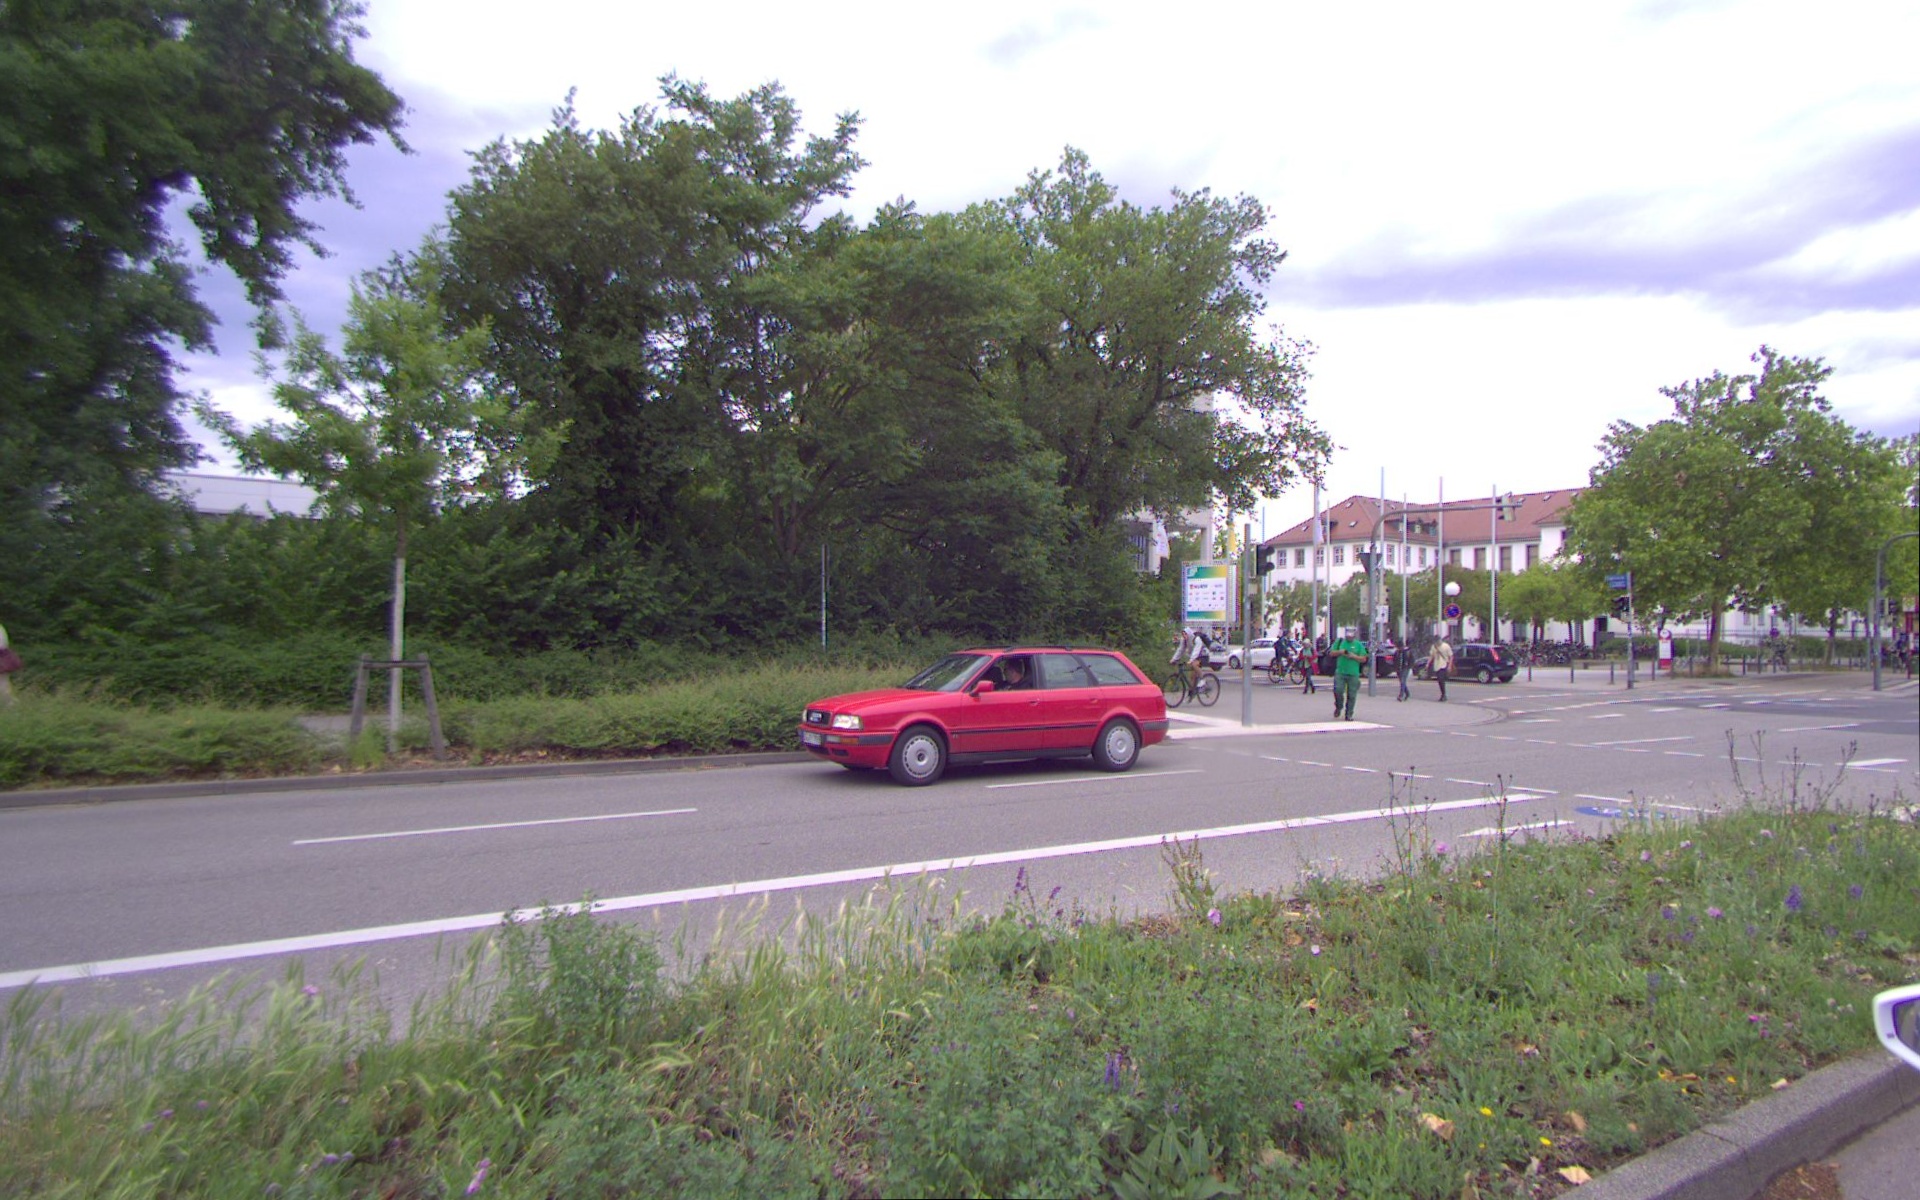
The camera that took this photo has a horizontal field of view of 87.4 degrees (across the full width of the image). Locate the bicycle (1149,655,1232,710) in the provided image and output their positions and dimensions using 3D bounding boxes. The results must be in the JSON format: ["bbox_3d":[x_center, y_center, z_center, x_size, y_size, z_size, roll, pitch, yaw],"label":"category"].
[{"bbox_3d":[4.781,1.691,20.827,1.597,1.076,0.664,1,0,-25],"label":"bicycle"}]

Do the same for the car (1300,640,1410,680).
[{"bbox_3d":[16.678,2.498,42.538,4.006,1.472,1.613,-2,3,43],"label":"car"}]

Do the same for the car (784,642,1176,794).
[{"bbox_3d":[0.290,1.209,11.476,4.244,1.437,1.706,1,-2,-31],"label":"car"}]

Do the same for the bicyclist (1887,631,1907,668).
[{"bbox_3d":[42.760,2.258,45.835,0.581,1.647,0.488,0,1,-30],"label":"bicyclist"}]

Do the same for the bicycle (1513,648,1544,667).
[{"bbox_3d":[31.939,3.233,56.437,1.385,1.066,0.586,-3,-3,41],"label":"bicycle"}]

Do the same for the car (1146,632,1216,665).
[{"bbox_3d":[11.347,2.482,51.711,1.547,1.499,3.322,1,0,-36],"label":"car"}]

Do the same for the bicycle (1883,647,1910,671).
[{"bbox_3d":[42.761,2.706,45.849,1.571,1.019,0.485,0,1,-31],"label":"bicycle"}]

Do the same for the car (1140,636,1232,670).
[{"bbox_3d":[10.272,2.420,45.849,1.691,1.450,4.194,1,-3,-30],"label":"car"}]

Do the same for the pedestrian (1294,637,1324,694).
[{"bbox_3d":[9.903,1.854,28.479,0.563,1.545,0.846,0,-6,36],"label":"pedestrian"}]

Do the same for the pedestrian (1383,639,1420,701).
[{"bbox_3d":[11.630,1.855,26.498,0.776,1.578,0.700,2,-4,16],"label":"pedestrian"}]

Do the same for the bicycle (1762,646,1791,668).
[{"bbox_3d":[41.184,2.863,50.660,2.025,1.074,0.603,1,-3,-37],"label":"bicycle"}]

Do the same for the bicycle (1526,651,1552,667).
[{"bbox_3d":[32.666,3.318,56.684,1.191,0.892,0.263,-2,-3,38],"label":"bicycle"}]

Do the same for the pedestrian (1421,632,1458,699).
[{"bbox_3d":[13.208,1.813,27.668,0.827,1.761,0.830,0,-5,30],"label":"pedestrian"}]

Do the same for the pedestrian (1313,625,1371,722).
[{"bbox_3d":[7.301,1.383,19.253,0.924,1.782,0.876,2,-1,16],"label":"pedestrian"}]

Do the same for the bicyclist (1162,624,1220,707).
[{"bbox_3d":[4.790,1.343,20.825,0.948,1.657,0.664,1,0,-24],"label":"bicyclist"}]

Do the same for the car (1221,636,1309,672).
[{"bbox_3d":[14.387,2.518,47.581,1.667,1.560,3.857,-1,0,-32],"label":"car"}]

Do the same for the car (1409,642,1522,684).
[{"bbox_3d":[19.677,2.420,39.199,1.548,1.240,3.630,-7,4,-35],"label":"car"}]

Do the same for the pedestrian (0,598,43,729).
[{"bbox_3d":[-12.360,0.815,12.920,0.663,1.657,0.697,1,-3,-30],"label":"pedestrian"}]
